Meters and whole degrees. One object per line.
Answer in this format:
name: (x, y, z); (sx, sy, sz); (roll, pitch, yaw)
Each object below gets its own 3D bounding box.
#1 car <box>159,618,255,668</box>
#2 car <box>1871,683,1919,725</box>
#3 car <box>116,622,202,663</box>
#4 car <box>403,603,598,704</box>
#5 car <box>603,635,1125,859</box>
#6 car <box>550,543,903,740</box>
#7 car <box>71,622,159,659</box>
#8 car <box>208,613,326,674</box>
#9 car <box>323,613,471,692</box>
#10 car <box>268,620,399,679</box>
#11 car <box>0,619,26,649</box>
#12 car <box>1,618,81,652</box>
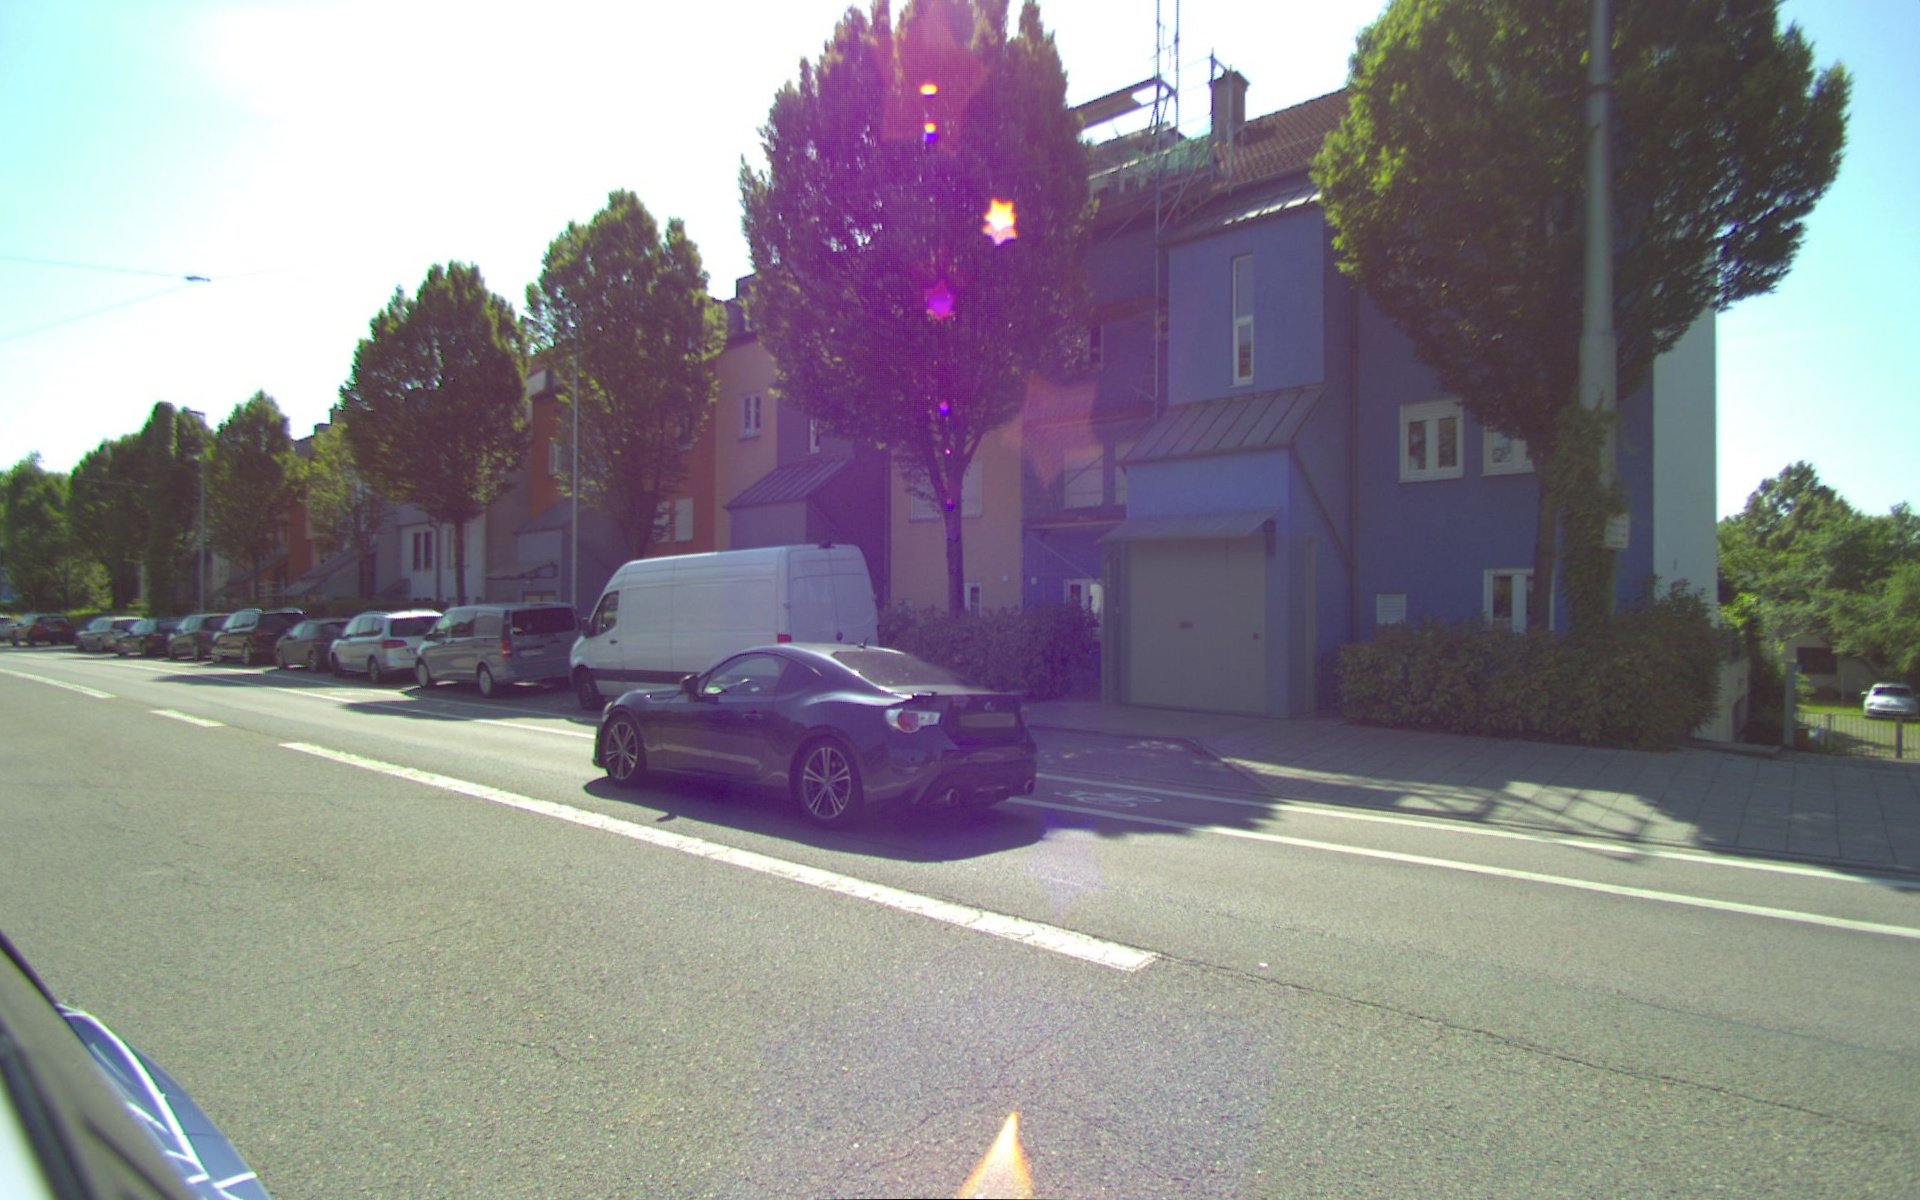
car: (-26.714, 1.463, 35.878); (4.159, 1.619, 1.661); (-1, 0, 37)
car: (40.245, 4.414, 43.374); (1.646, 1.336, 3.946); (-3, 0, 41)
car: (-31.166, 1.612, 39.350); (4.207, 1.481, 1.661); (-1, 0, 38)
car: (-10.222, 1.095, 22.319); (4.964, 1.879, 1.973); (-1, 3, 41)
car: (-0.914, 0.958, 7.863); (4.062, 1.254, 1.670); (-1, -5, 41)
car: (-4.190, 0.573, 16.932); (7.084, 2.697, 1.973); (-1, 2, 42)
car: (-36.378, 1.706, 43.536); (4.826, 1.457, 1.663); (-1, 0, 35)
car: (-22.102, 1.323, 32.220); (4.343, 1.741, 1.812); (-1, 1, 38)
car: (-14.295, 1.237, 25.606); (4.539, 1.715, 1.829); (0, 2, 42)
car: (-18.053, 1.371, 29.121); (4.069, 1.466, 1.849); (-1, 2, 37)
car: (-52.279, 1.827, 54.512); (4.123, 1.510, 2.017); (-1, 0, 35)
car: (-45.561, 1.696, 50.140); (4.920, 1.588, 1.889); (-1, 0, 35)
